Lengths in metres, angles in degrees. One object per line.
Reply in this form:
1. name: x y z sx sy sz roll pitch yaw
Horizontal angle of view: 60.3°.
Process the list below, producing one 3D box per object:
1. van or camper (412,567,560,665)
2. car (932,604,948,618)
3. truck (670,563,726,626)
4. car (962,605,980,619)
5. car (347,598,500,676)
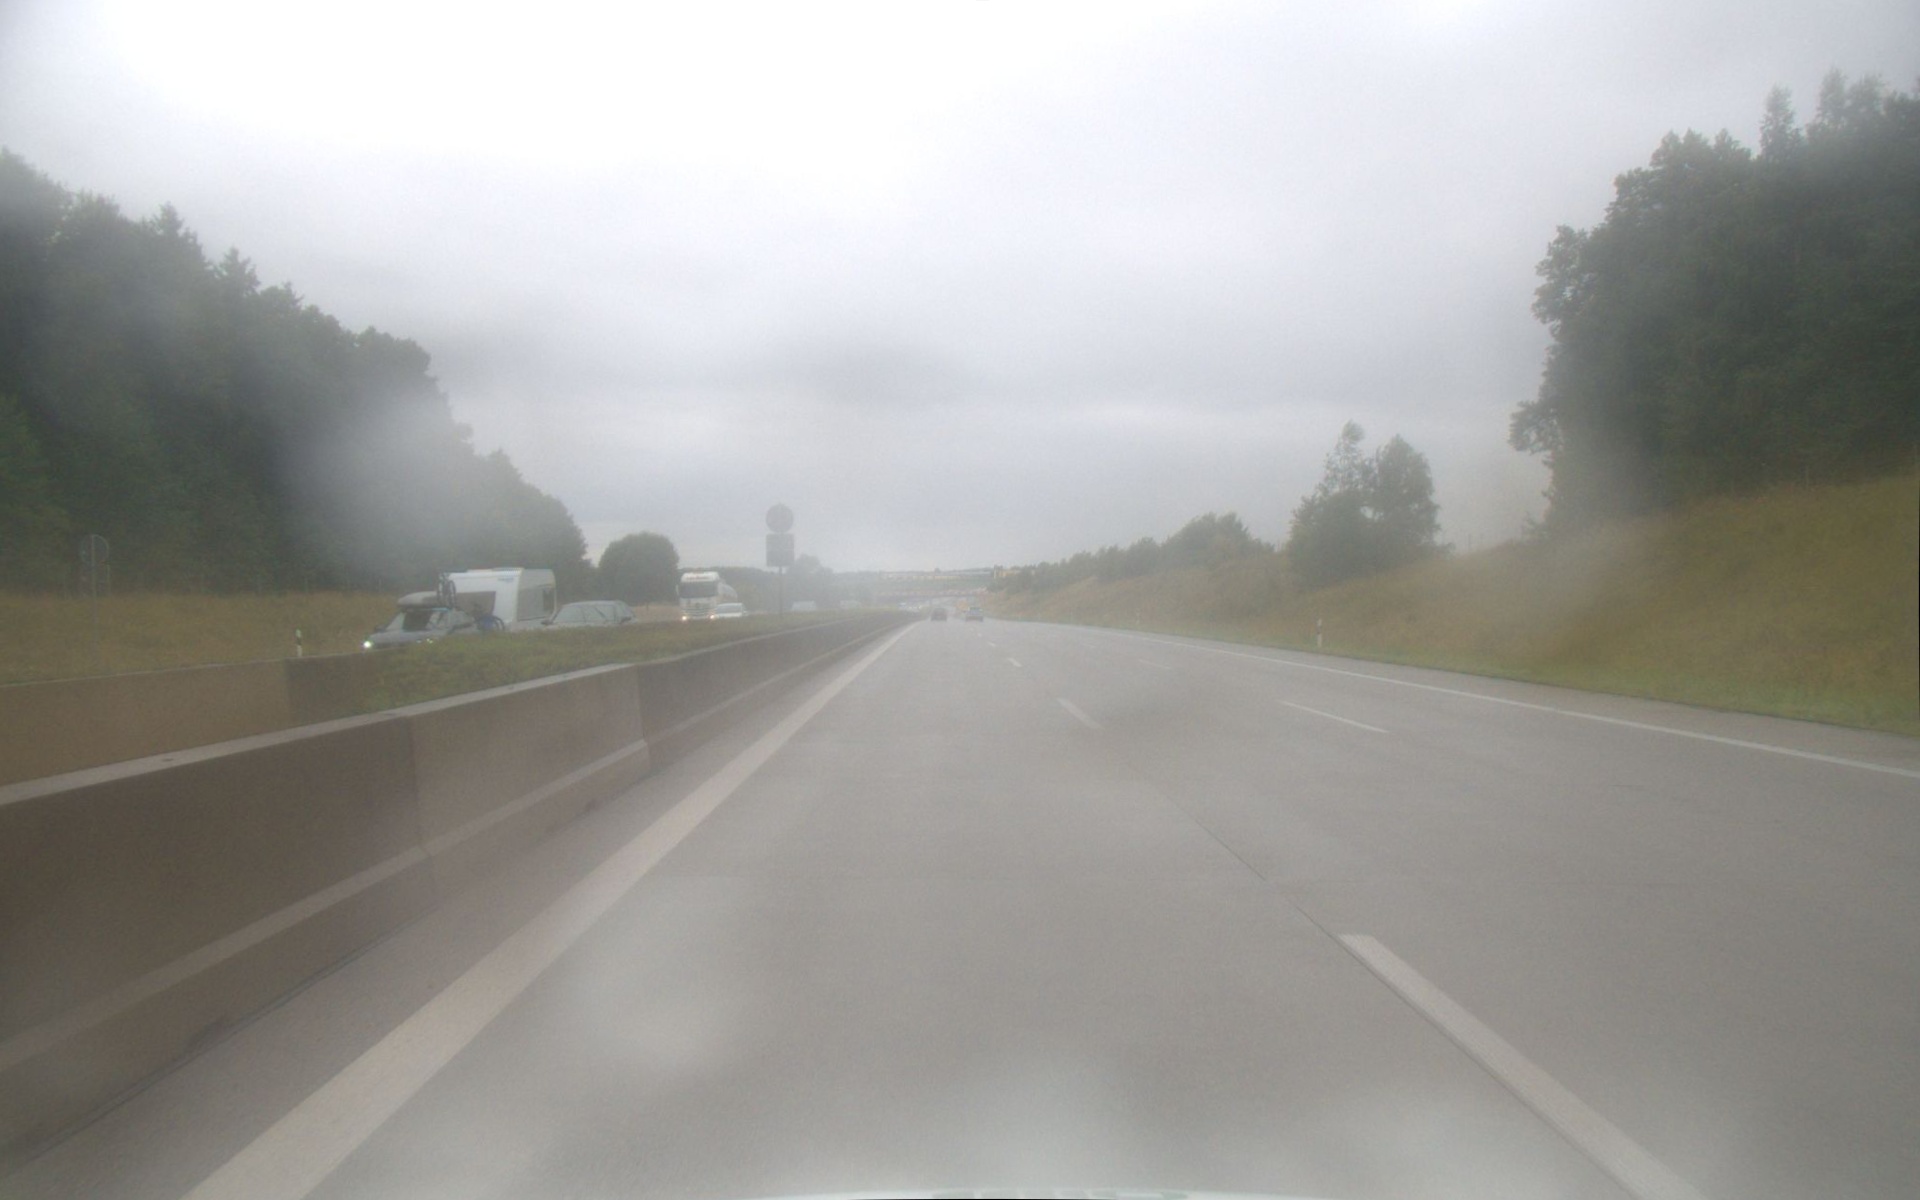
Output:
1. van or camper: -12.807 0.419 45.148 2.450 2.471 5.917 -1 0 -2
2. car: -2.120 1.178 177.771 1.694 1.354 4.429 0 1 -1
3. truck: -17.251 -0.417 109.238 2.610 3.942 6.436 -1 1 0
4. car: 1.144 1.261 173.514 1.810 1.354 4.428 0 1 -2
5. car: -12.676 0.841 39.472 1.953 1.673 5.407 -2 0 -2
